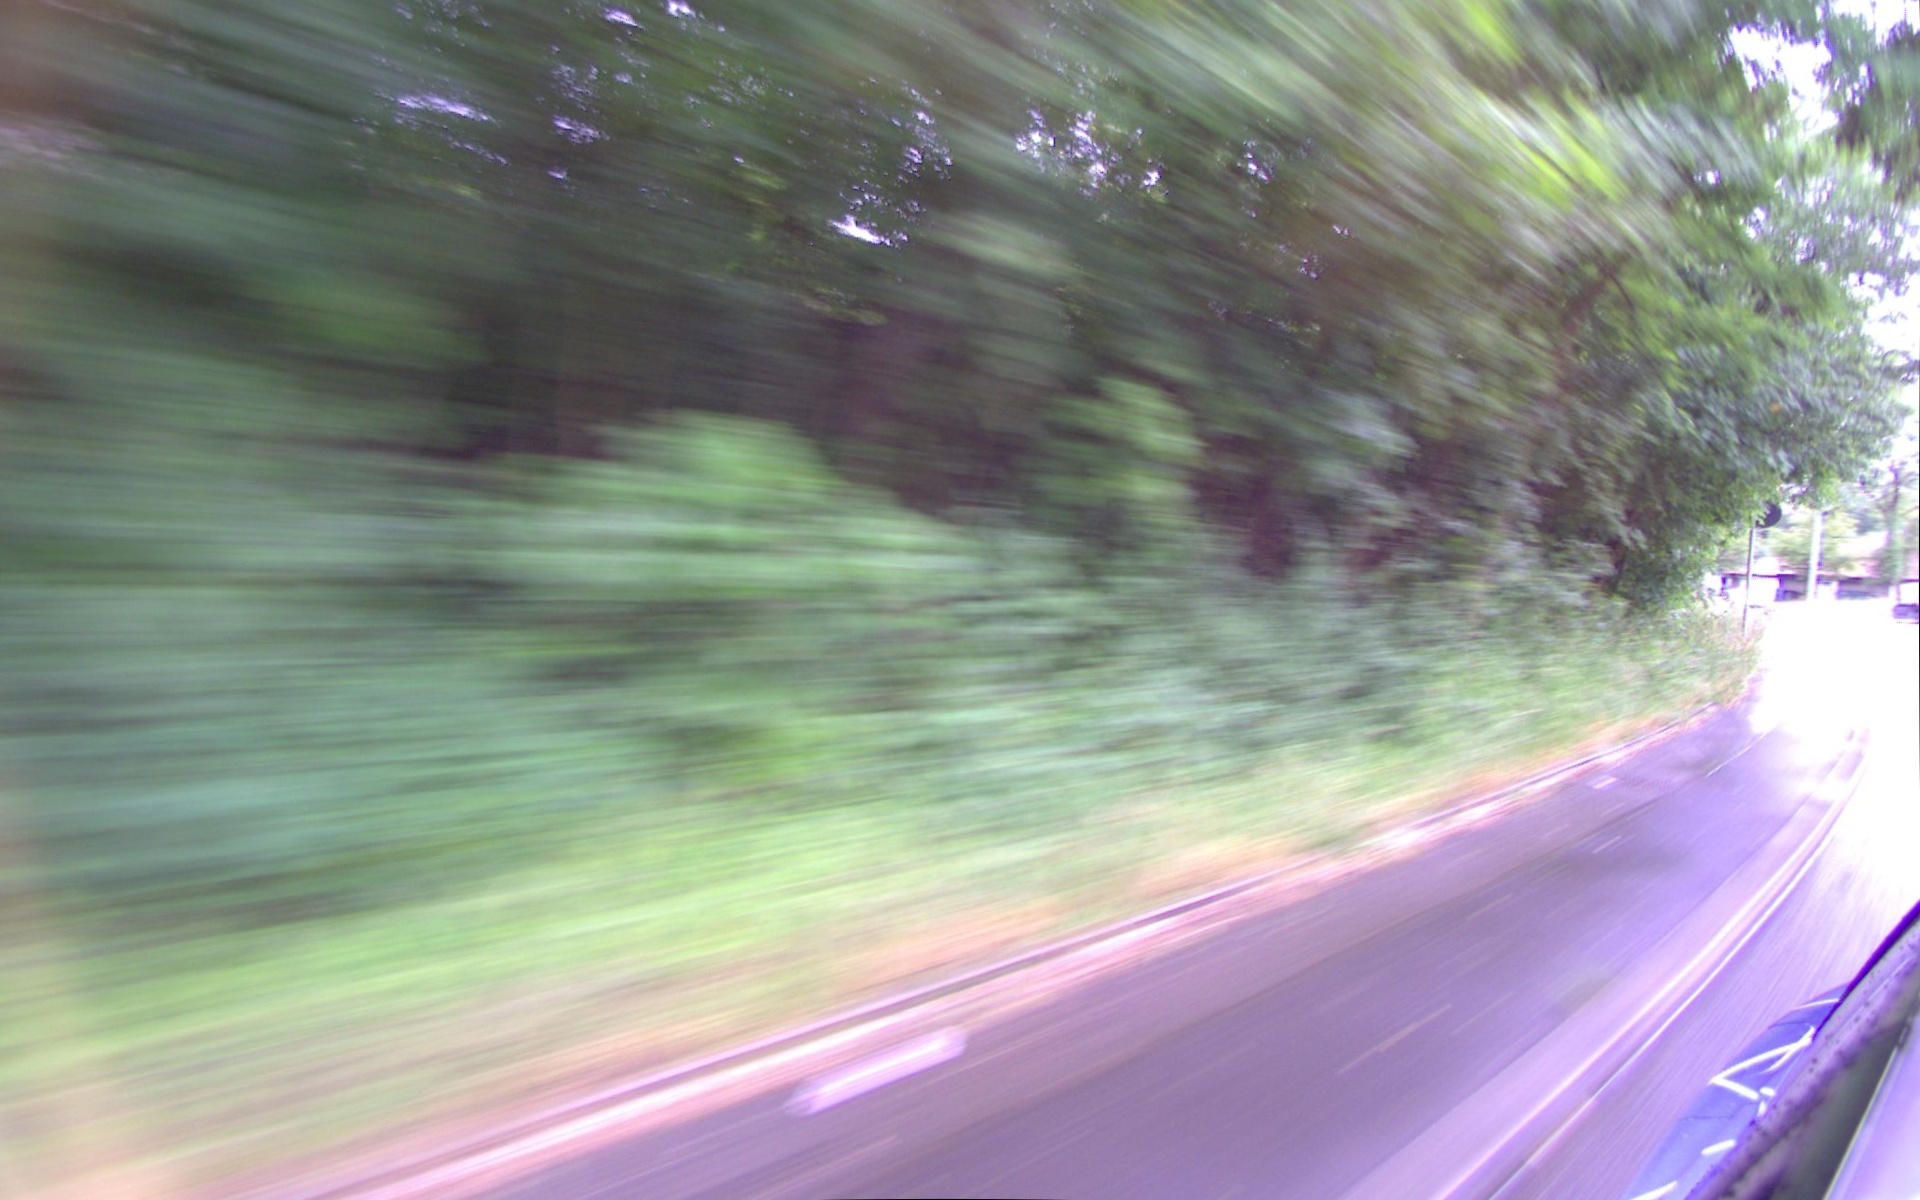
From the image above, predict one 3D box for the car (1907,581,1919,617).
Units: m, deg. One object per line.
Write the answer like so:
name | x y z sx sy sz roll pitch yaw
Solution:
car | 41.104 -0.050 42.271 1.588 1.496 3.748 0 1 33
